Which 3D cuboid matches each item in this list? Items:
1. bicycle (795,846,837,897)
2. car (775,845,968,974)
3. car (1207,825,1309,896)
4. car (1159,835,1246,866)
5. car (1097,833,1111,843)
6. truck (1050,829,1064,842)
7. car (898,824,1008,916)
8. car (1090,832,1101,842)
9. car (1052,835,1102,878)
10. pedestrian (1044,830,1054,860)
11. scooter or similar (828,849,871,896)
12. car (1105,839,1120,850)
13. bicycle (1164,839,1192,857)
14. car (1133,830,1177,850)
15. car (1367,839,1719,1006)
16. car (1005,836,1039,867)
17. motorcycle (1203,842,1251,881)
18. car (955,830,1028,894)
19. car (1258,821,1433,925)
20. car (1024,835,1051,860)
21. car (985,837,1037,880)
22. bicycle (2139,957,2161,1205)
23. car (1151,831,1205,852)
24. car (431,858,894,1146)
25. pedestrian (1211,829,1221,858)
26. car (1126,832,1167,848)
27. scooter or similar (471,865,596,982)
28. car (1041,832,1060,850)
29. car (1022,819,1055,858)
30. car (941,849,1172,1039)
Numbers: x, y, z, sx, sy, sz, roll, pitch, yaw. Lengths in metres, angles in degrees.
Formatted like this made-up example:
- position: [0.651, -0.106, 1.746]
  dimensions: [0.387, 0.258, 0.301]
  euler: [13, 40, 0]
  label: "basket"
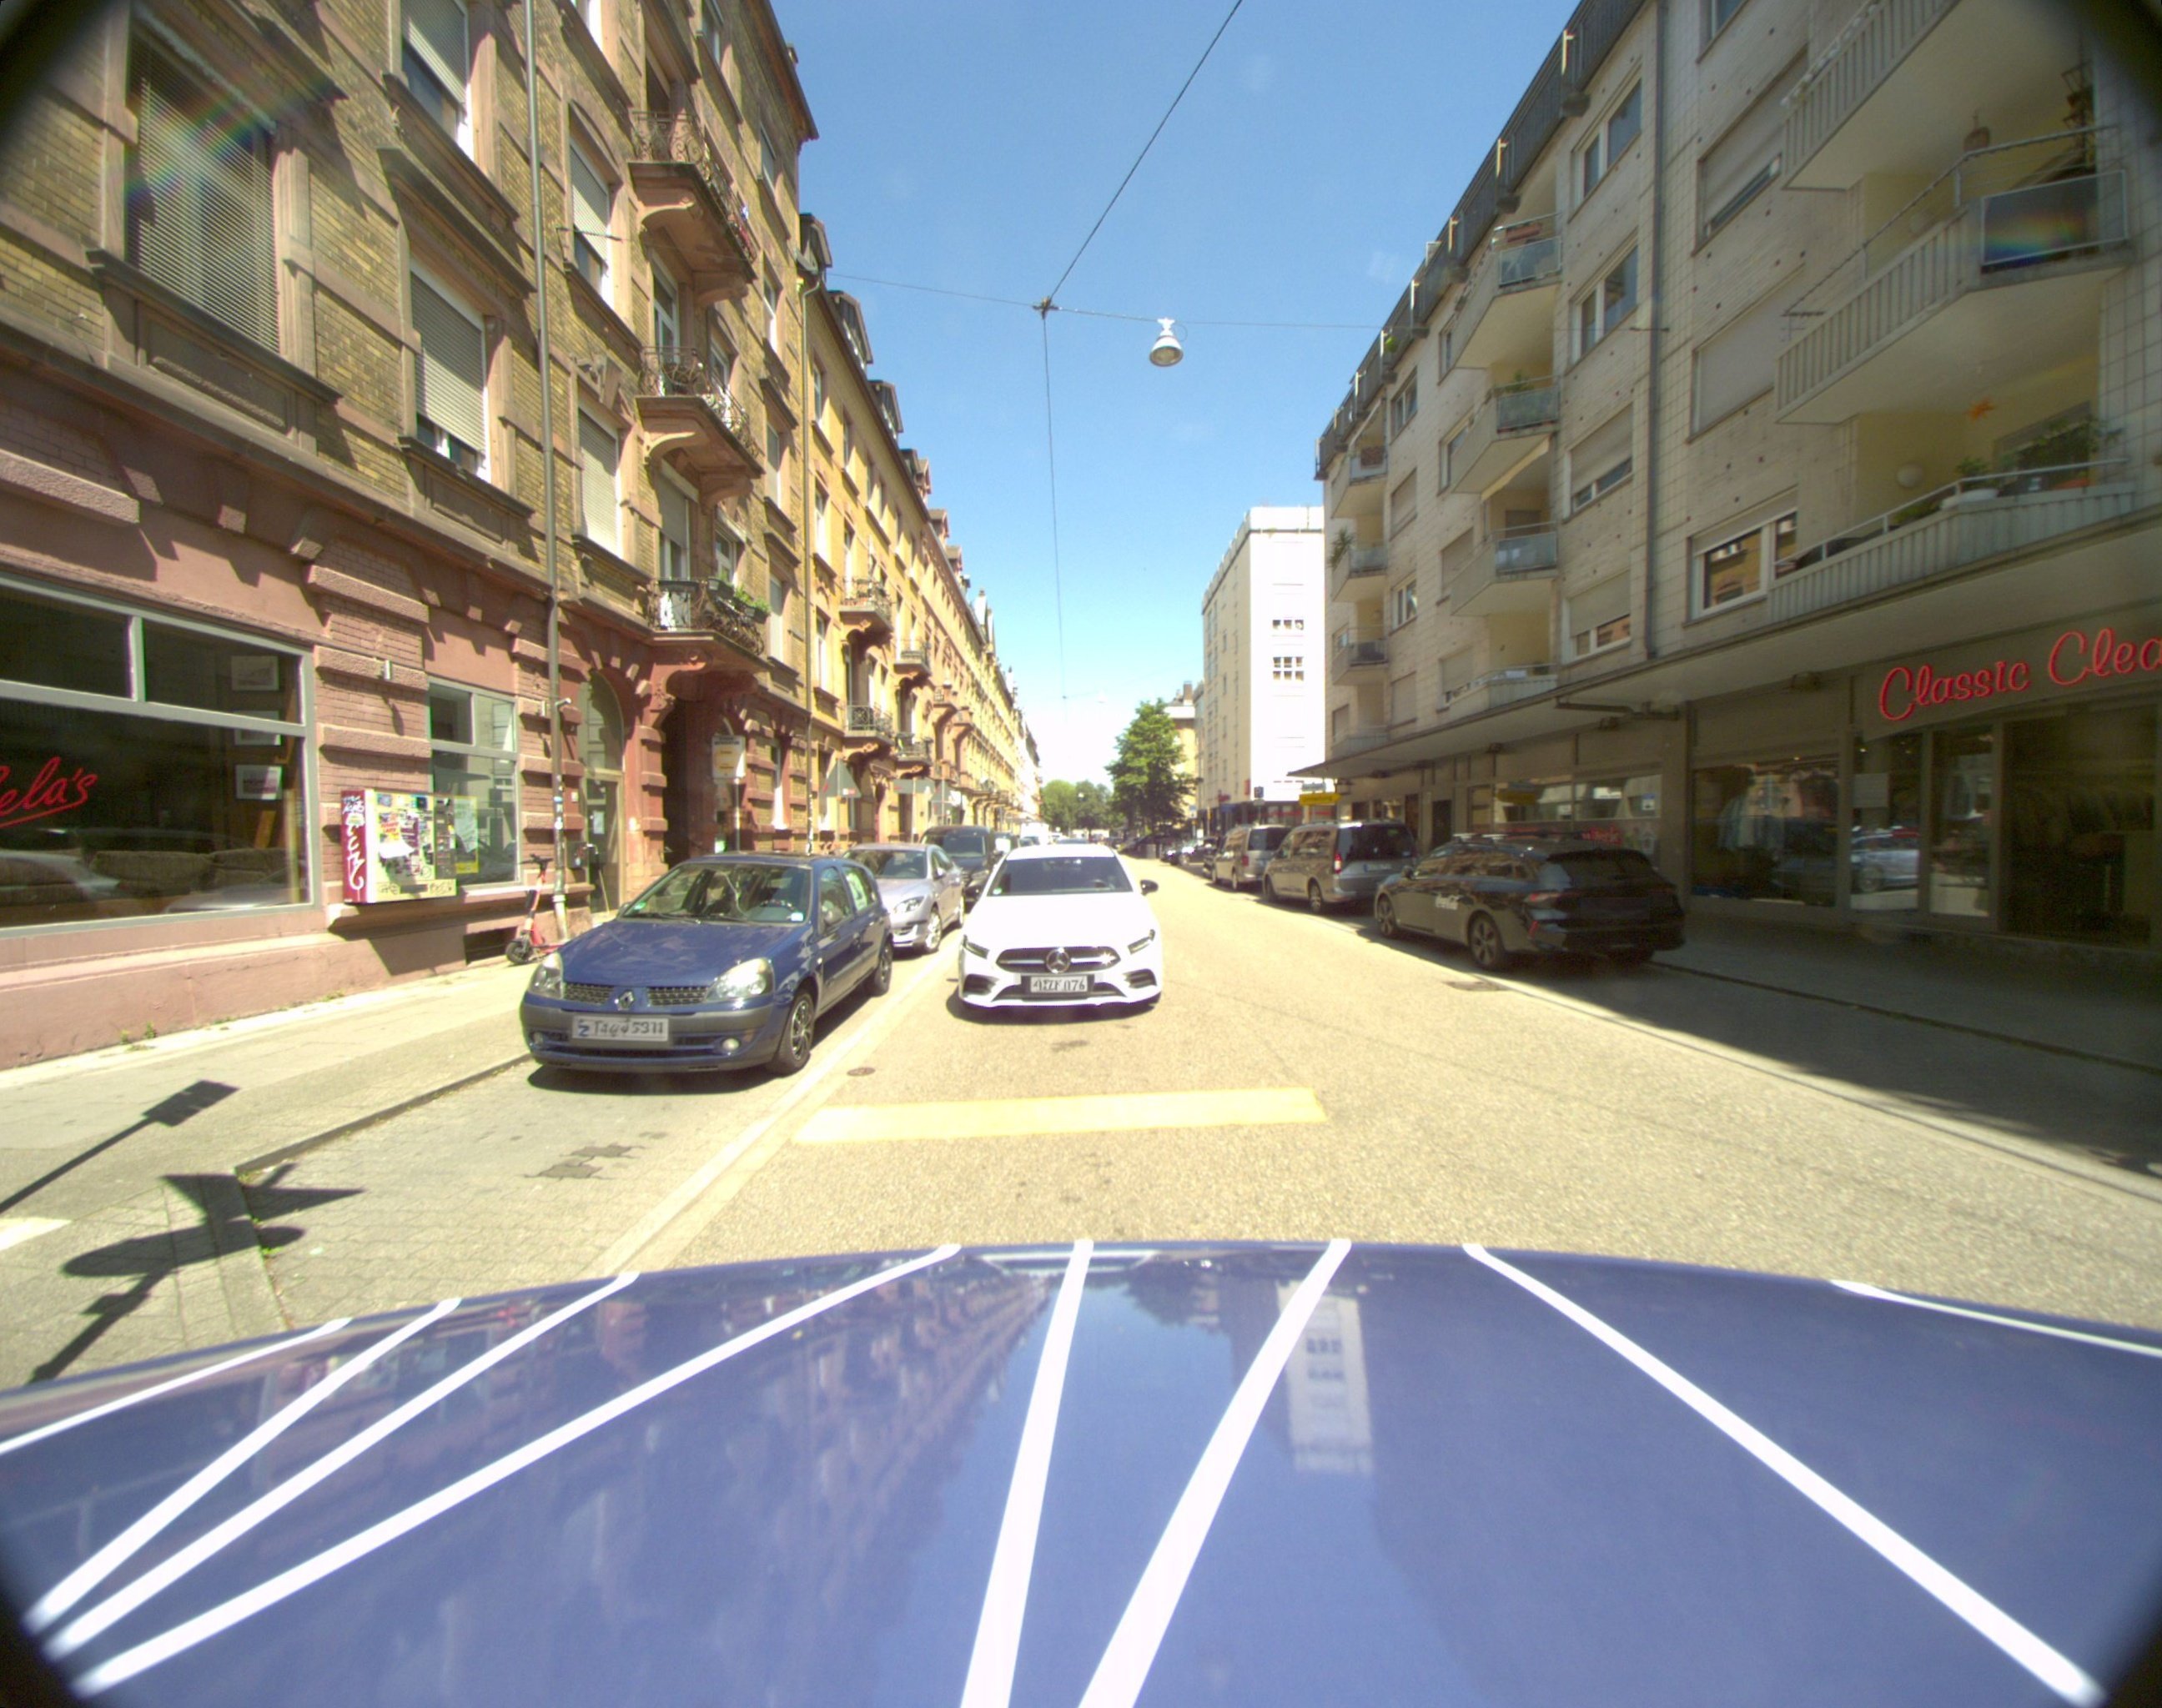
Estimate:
- position: [-6.164, 0.372, 17.736]
  dimensions: [0.354, 1.097, 1.755]
  euler: [-1, 2, -1]
  label: "bicycle"
- position: [-2.771, 0.634, 11.125]
  dimensions: [1.730, 1.424, 4.483]
  euler: [0, 2, -2]
  label: "car"
- position: [5.047, 0.107, 22.329]
  dimensions: [1.793, 1.819, 4.898]
  euler: [-2, 2, 0]
  label: "car"
- position: [5.950, -0.186, 37.401]
  dimensions: [3.891, 1.417, 1.813]
  euler: [-1, 2, -9]
  label: "car"
- position: [3.658, -2.558, 119.290]
  dimensions: [1.999, 1.505, 3.998]
  euler: [-2, 2, 0]
  label: "car"
- position: [-3.682, -2.850, 118.832]
  dimensions: [1.999, 2.002, 4.900]
  euler: [-1, 2, 0]
  label: "truck"
- position: [-2.666, 0.252, 16.750]
  dimensions: [1.829, 1.757, 4.335]
  euler: [0, 2, -2]
  label: "car"
- position: [2.701, -3.155, 141.622]
  dimensions: [1.999, 1.674, 3.998]
  euler: [-2, 2, 0]
  label: "car"
- position: [-0.166, 0.031, 29.683]
  dimensions: [1.780, 1.461, 3.998]
  euler: [-2, 2, 0]
  label: "car"
- position: [-2.006, -0.560, 47.486]
  dimensions: [0.635, 1.903, 0.370]
  euler: [-1, 2, -1]
  label: "pedestrian"
- position: [-6.098, 0.454, 20.124]
  dimensions: [0.478, 1.146, 2.148]
  euler: [-1, 2, -1]
  label: "scooter or similar"
- position: [4.485, -1.350, 108.415]
  dimensions: [1.999, 1.505, 3.998]
  euler: [-2, 2, 0]
  label: "car"
- position: [5.923, -0.367, 46.360]
  dimensions: [1.609, 1.084, 0.371]
  euler: [-2, 2, 5]
  label: "bicycle"
- position: [6.770, -1.302, 70.071]
  dimensions: [3.885, 1.737, 1.651]
  euler: [-1, 2, -1]
  label: "car"
- position: [5.242, 0.613, 9.467]
  dimensions: [1.674, 1.516, 4.462]
  euler: [-2, 2, 0]
  label: "car"
- position: [-3.011, -0.187, 39.237]
  dimensions: [1.603, 1.454, 3.687]
  euler: [-2, 2, -3]
  label: "car"
- position: [5.030, 0.261, 26.242]
  dimensions: [1.552, 1.277, 0.394]
  euler: [-1, 3, 32]
  label: "motorcycle"
- position: [-2.622, 0.165, 23.122]
  dimensions: [1.706, 1.724, 3.998]
  euler: [-1, 2, 0]
  label: "car"
- position: [5.289, 0.284, 15.952]
  dimensions: [1.793, 1.801, 4.696]
  euler: [-2, 2, -3]
  label: "car"
- position: [-2.847, -0.481, 49.918]
  dimensions: [1.682, 1.528, 3.997]
  euler: [-2, 2, -3]
  label: "car"
- position: [-2.660, 0.104, 28.607]
  dimensions: [1.766, 1.441, 3.902]
  euler: [-2, 2, -6]
  label: "car"
- position: [5.613, 0.947, 2.877]
  dimensions: [1.937, 1.085, 0.605]
  euler: [-3, 0, 12]
  label: "bicycle"
- position: [7.299, -0.921, 57.270]
  dimensions: [3.885, 1.520, 1.651]
  euler: [-1, 2, -1]
  label: "car"
- position: [-2.674, 0.809, 5.897]
  dimensions: [1.631, 1.424, 3.658]
  euler: [0, 2, -1]
  label: "car"
- position: [9.824, -0.743, 55.284]
  dimensions: [0.608, 2.113, 0.496]
  euler: [1, 2, 35]
  label: "pedestrian"
- position: [6.511, -1.395, 75.632]
  dimensions: [3.885, 1.488, 1.651]
  euler: [-1, 2, -1]
  label: "car"
- position: [-6.152, 0.739, 8.609]
  dimensions: [0.293, 1.170, 1.272]
  euler: [-1, 2, 9]
  label: "scooter or similar"
- position: [-2.914, -1.232, 71.188]
  dimensions: [1.682, 1.528, 3.997]
  euler: [-2, 2, -3]
  label: "car"
- position: [-3.079, -1.161, 55.897]
  dimensions: [2.068, 2.687, 5.037]
  euler: [-2, 2, 0]
  label: "car"
- position: [-0.202, 0.703, 8.155]
  dimensions: [1.814, 1.417, 4.240]
  euler: [-1, 2, 0]
  label: "car"
